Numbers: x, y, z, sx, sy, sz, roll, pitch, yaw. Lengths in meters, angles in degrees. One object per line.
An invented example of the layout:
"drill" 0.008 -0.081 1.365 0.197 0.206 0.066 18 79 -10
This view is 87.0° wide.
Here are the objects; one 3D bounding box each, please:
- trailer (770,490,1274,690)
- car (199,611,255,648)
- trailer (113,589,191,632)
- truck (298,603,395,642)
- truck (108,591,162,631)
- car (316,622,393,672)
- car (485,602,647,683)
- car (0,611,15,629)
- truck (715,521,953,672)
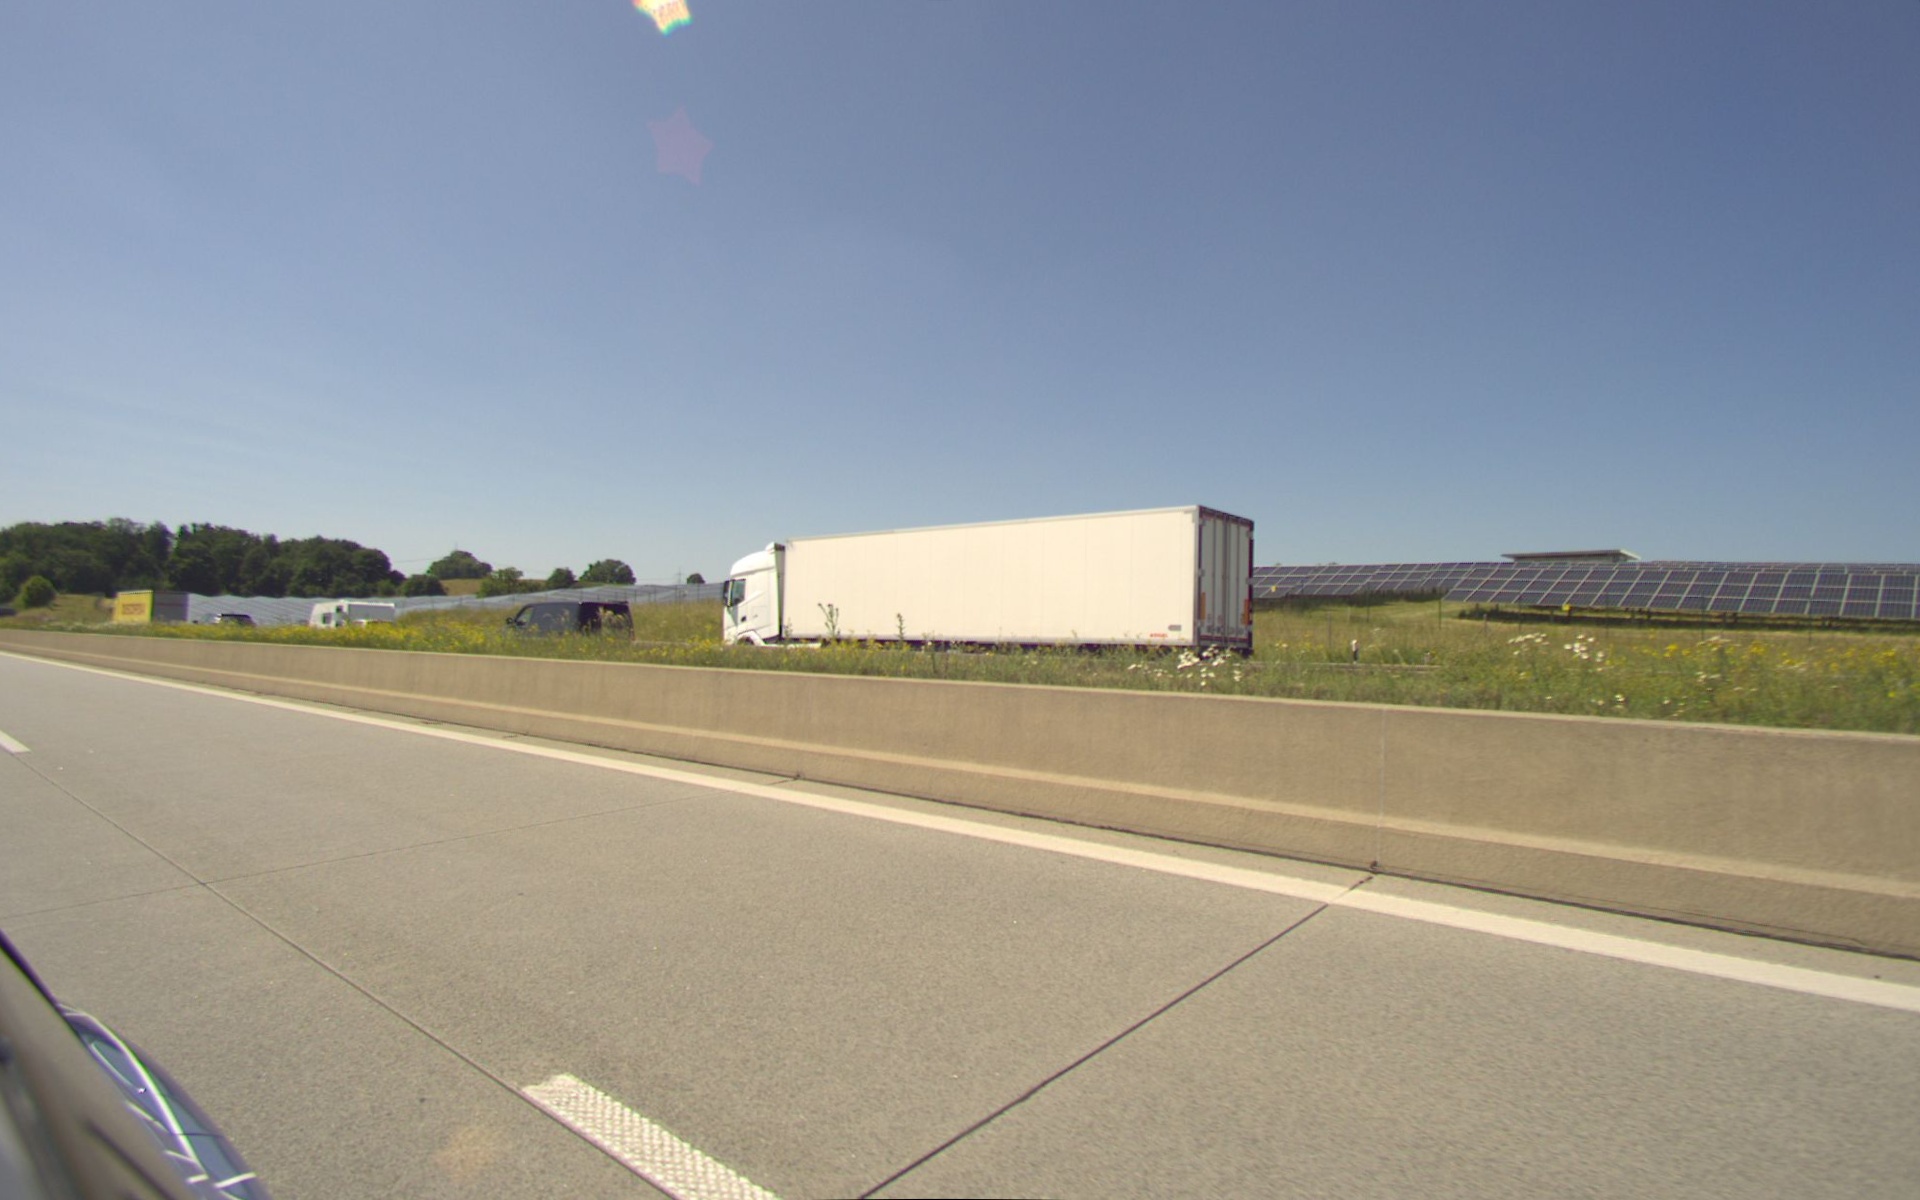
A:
"trailer" 0.726 -0.160 26.233 14.134 4.034 3.058 -1 0 41
"car" -32.748 1.300 45.186 3.251 1.543 1.310 -1 0 41
"trailer" -72.129 0.994 90.169 14.013 3.577 2.901 -1 -2 41
"truck" -34.658 1.208 57.023 7.626 2.029 2.491 -1 0 41
"truck" -77.151 1.059 94.618 6.346 3.567 2.892 -1 -3 42
"car" -26.107 1.975 43.588 3.938 1.957 1.726 -1 0 41
"car" -10.931 1.104 27.921 5.028 1.986 2.050 -1 0 41
"car" -95.954 1.992 100.975 5.387 1.741 1.973 -1 0 41
"truck" -3.944 -0.081 30.510 7.251 4.034 3.058 -1 0 41
